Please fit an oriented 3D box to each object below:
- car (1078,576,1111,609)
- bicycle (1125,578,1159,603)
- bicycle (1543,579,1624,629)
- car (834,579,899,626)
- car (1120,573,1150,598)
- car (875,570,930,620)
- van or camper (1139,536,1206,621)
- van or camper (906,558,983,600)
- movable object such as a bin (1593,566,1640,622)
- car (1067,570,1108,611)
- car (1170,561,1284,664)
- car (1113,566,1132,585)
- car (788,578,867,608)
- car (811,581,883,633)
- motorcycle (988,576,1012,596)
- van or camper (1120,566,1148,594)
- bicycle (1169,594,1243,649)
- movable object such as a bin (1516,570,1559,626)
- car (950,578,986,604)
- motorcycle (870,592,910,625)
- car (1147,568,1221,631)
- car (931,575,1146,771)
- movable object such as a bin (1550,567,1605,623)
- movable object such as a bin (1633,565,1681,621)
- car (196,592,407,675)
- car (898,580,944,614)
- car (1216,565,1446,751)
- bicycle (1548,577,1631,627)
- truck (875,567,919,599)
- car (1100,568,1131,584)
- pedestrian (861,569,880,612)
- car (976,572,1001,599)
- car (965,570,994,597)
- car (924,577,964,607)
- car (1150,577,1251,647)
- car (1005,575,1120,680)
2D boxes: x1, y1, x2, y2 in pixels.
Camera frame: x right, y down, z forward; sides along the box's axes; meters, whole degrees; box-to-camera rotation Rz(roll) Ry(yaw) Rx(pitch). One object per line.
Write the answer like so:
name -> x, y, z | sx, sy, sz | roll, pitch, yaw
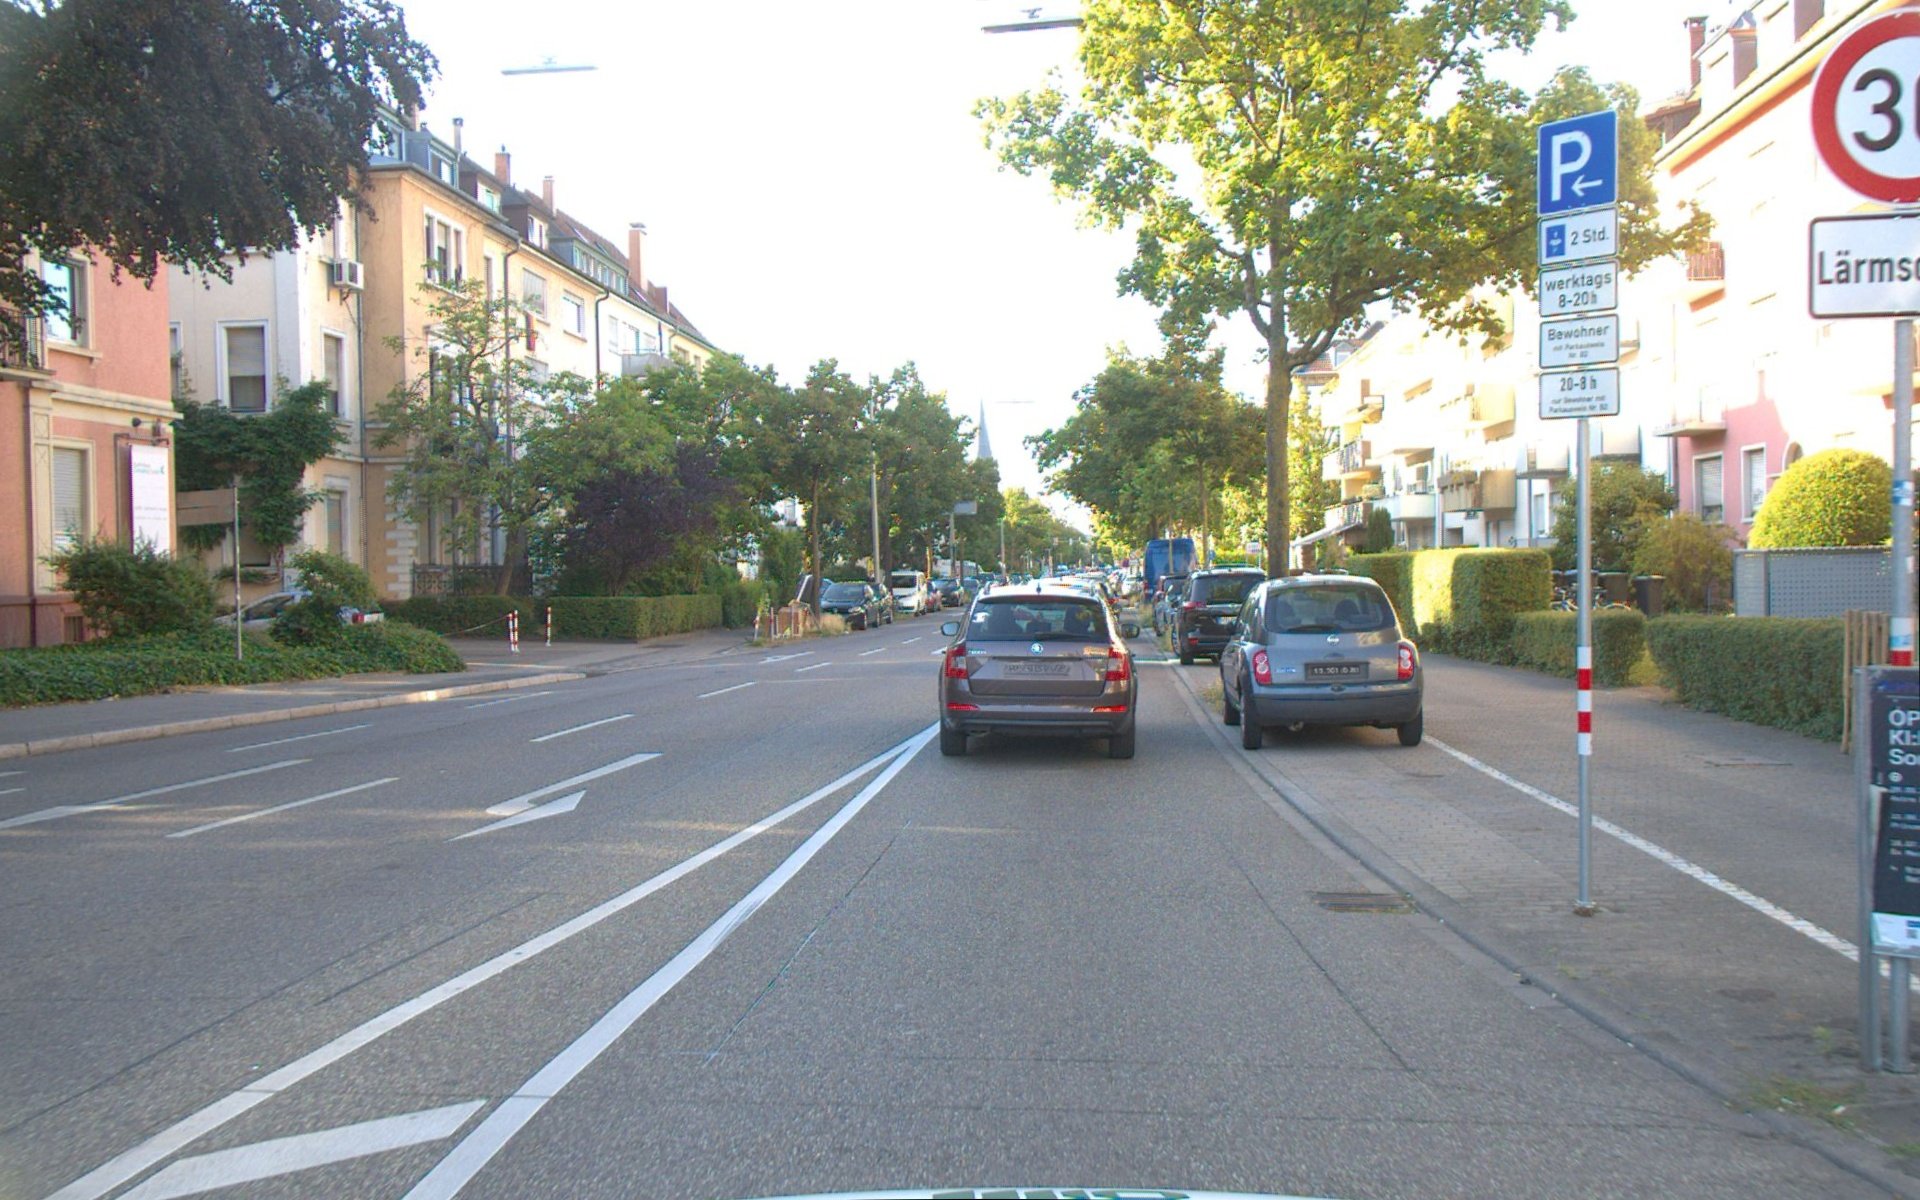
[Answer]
car -> 7.334, -0.420, 89.923 | 1.696, 1.680, 3.544 | -1, 1, 5
bicycle -> 9.526, -0.493, 86.647 | 1.635, 1.247, 0.636 | -3, 0, 18
bicycle -> 11.409, 0.069, 30.294 | 1.330, 0.868, 0.365 | -1, 1, 5
car -> -3.298, 0.070, 58.954 | 1.713, 1.529, 3.981 | -1, 1, 5
car -> 10.856, -0.894, 102.255 | 1.782, 1.437, 4.115 | -1, 1, 7
car -> -2.379, -0.254, 69.351 | 1.732, 1.952, 4.463 | -1, 1, 5
van or camper -> 7.238, -0.722, 56.813 | 2.024, 2.722, 5.993 | -1, 0, 5
van or camper -> -1.522, -2.096, 164.820 | 7.480, 3.942, 2.001 | -1, 1, 3
movable object such as a bin -> 12.294, -0.121, 30.989 | 0.598, 1.020, 0.797 | -1, 1, 4
car -> 5.532, -0.449, 71.760 | 1.696, 1.680, 3.544 | -1, 1, 5
car -> 4.757, 0.164, 29.897 | 1.696, 1.680, 4.294 | -1, 1, 5
car -> 15.851, -2.408, 161.868 | 1.693, 1.846, 3.953 | -1, 1, 4
car -> -6.877, -0.351, 86.118 | 3.904, 1.504, 2.001 | 0, 1, 1
car -> -3.645, 0.193, 54.018 | 1.713, 1.529, 4.200 | -1, 1, 5
motorcycle -> 3.108, -1.083, 128.096 | 0.759, 1.538, 2.003 | -2, 1, -37
van or camper -> 13.257, -1.575, 126.150 | 1.951, 2.048, 4.003 | -1, 1, 5
bicycle -> 5.064, 0.431, 34.095 | 1.449, 1.077, 0.411 | -1, 1, -8
movable object such as a bin -> 10.821, -0.038, 30.986 | 0.569, 1.020, 0.797 | -1, 1, 5
car -> 0.520, -0.553, 99.988 | 1.717, 1.445, 4.429 | -1, 1, 6
motorcycle -> -2.655, 0.317, 62.467 | 0.433, 1.212, 1.697 | 0, 2, 42
car -> 6.250, -0.017, 46.508 | 1.735, 1.671, 3.759 | -1, 0, 3
car -> 0.848, 0.566, 15.280 | 1.693, 1.519, 3.954 | -1, 1, 7
movable object such as a bin -> 11.585, -0.107, 31.039 | 0.759, 1.020, 0.797 | -1, 1, 4
movable object such as a bin -> 13.041, -0.135, 30.946 | 0.598, 1.020, 0.797 | -1, 1, 4
car -> -13.030, 0.641, 32.866 | 3.425, 1.512, 1.816 | -1, 1, 1
car -> -1.786, -0.145, 76.562 | 1.680, 1.445, 3.789 | -1, 1, 5
car -> 3.497, 0.467, 16.173 | 1.696, 1.578, 3.649 | -1, 1, 5
bicycle -> 11.359, 0.040, 29.840 | 1.341, 0.868, 0.369 | -1, 1, 6
truck -> -4.350, -1.194, 115.103 | 2.852, 2.130, 1.547 | -1, 1, 4
car -> 19.151, -2.975, 203.407 | 1.848, 1.787, 4.157 | 0, 2, 40
pedestrian -> -4.293, -0.479, 79.579 | 0.751, 2.048, 0.976 | -1, 1, 4
car -> 2.027, -1.046, 117.783 | 1.475, 1.787, 3.696 | -1, 1, 5
car -> 1.356, -1.124, 113.152 | 1.713, 1.771, 3.593 | -1, 1, 5
car -> -0.827, -0.441, 88.586 | 1.680, 1.523, 4.251 | -1, 1, 5
car -> 5.779, 0.242, 40.293 | 1.880, 1.512, 4.747 | -1, 1, 2
car -> 1.598, 0.388, 26.840 | 1.694, 1.519, 3.952 | -1, 1, 1
